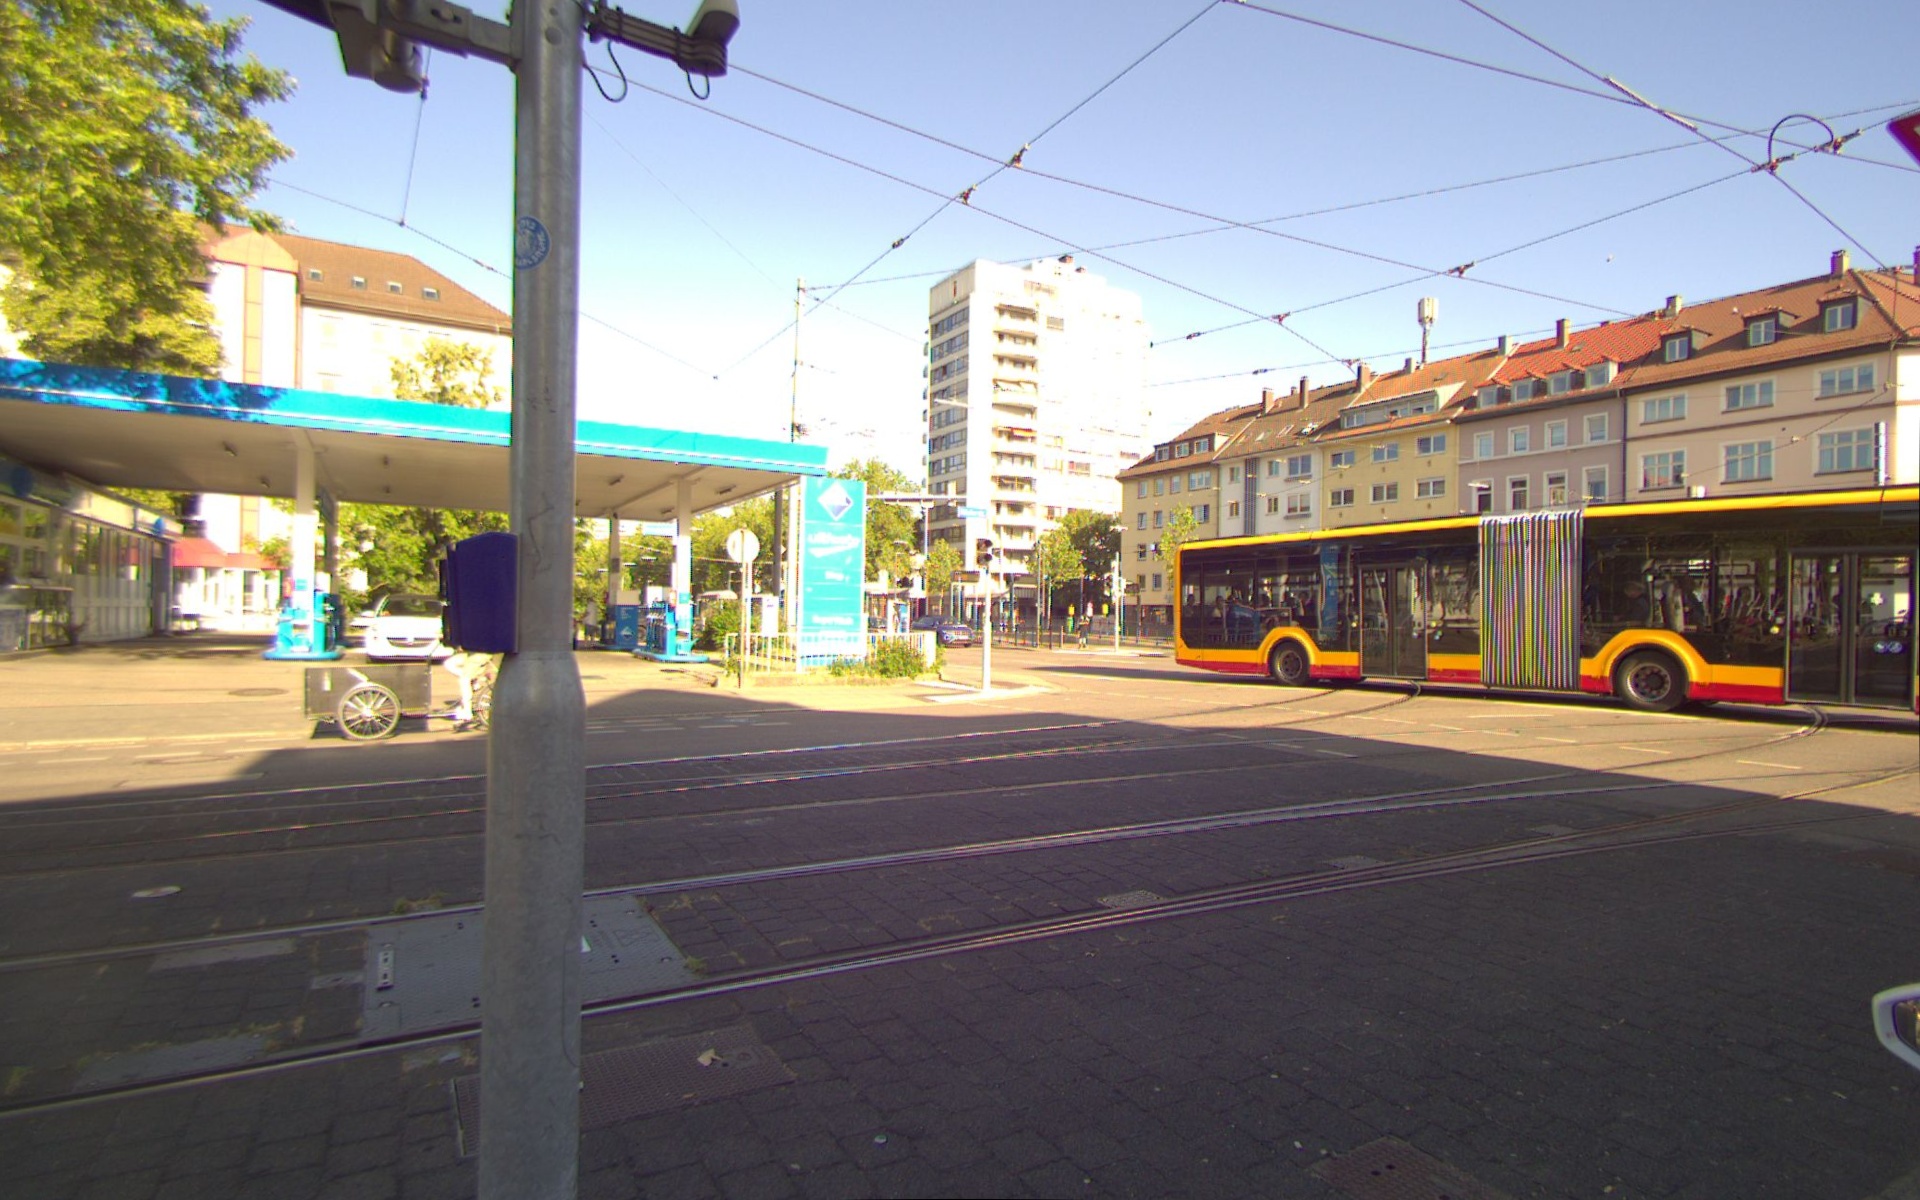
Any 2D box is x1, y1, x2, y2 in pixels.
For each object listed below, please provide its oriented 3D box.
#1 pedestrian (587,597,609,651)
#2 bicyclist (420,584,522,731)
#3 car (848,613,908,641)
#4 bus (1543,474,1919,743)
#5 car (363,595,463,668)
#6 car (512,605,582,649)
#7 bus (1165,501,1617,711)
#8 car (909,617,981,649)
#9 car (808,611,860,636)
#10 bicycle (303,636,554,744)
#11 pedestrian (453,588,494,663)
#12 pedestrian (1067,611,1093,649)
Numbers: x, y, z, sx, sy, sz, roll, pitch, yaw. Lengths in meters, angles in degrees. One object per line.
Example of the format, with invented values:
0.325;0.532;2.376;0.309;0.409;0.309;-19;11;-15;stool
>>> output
-11.633;0.756;32.233;0.579;1.715;0.756;1;-1;-25;pedestrian
-5.842;0.659;11.988;1.016;1.659;0.927;1;-1;-30;bicyclist
-4.480;1.446;54.306;1.697;1.439;4.149;1;-1;-28;car
13.627;0.122;13.856;2.753;3.504;9.346;0;1;-36;bus
-12.350;0.673;22.557;1.793;1.461;3.966;1;-1;-31;car
-13.570;0.858;32.878;1.697;1.360;3.970;1;-1;-28;car
8.446;0.044;21.099;2.760;3.504;8.555;0;1;-35;bus
-0.768;1.533;47.870;1.697;1.439;4.149;1;-1;-28;car
-7.608;1.399;60.316;1.697;1.439;4.149;1;-1;-28;car
-6.168;0.999;11.772;2.490;1.116;1.051;1;-1;-30;bicycle
-11.365;0.599;23.464;0.753;1.715;0.581;1;-1;-34;pedestrian
5.263;1.304;43.967;0.788;1.632;0.766;1;-1;-36;pedestrian
